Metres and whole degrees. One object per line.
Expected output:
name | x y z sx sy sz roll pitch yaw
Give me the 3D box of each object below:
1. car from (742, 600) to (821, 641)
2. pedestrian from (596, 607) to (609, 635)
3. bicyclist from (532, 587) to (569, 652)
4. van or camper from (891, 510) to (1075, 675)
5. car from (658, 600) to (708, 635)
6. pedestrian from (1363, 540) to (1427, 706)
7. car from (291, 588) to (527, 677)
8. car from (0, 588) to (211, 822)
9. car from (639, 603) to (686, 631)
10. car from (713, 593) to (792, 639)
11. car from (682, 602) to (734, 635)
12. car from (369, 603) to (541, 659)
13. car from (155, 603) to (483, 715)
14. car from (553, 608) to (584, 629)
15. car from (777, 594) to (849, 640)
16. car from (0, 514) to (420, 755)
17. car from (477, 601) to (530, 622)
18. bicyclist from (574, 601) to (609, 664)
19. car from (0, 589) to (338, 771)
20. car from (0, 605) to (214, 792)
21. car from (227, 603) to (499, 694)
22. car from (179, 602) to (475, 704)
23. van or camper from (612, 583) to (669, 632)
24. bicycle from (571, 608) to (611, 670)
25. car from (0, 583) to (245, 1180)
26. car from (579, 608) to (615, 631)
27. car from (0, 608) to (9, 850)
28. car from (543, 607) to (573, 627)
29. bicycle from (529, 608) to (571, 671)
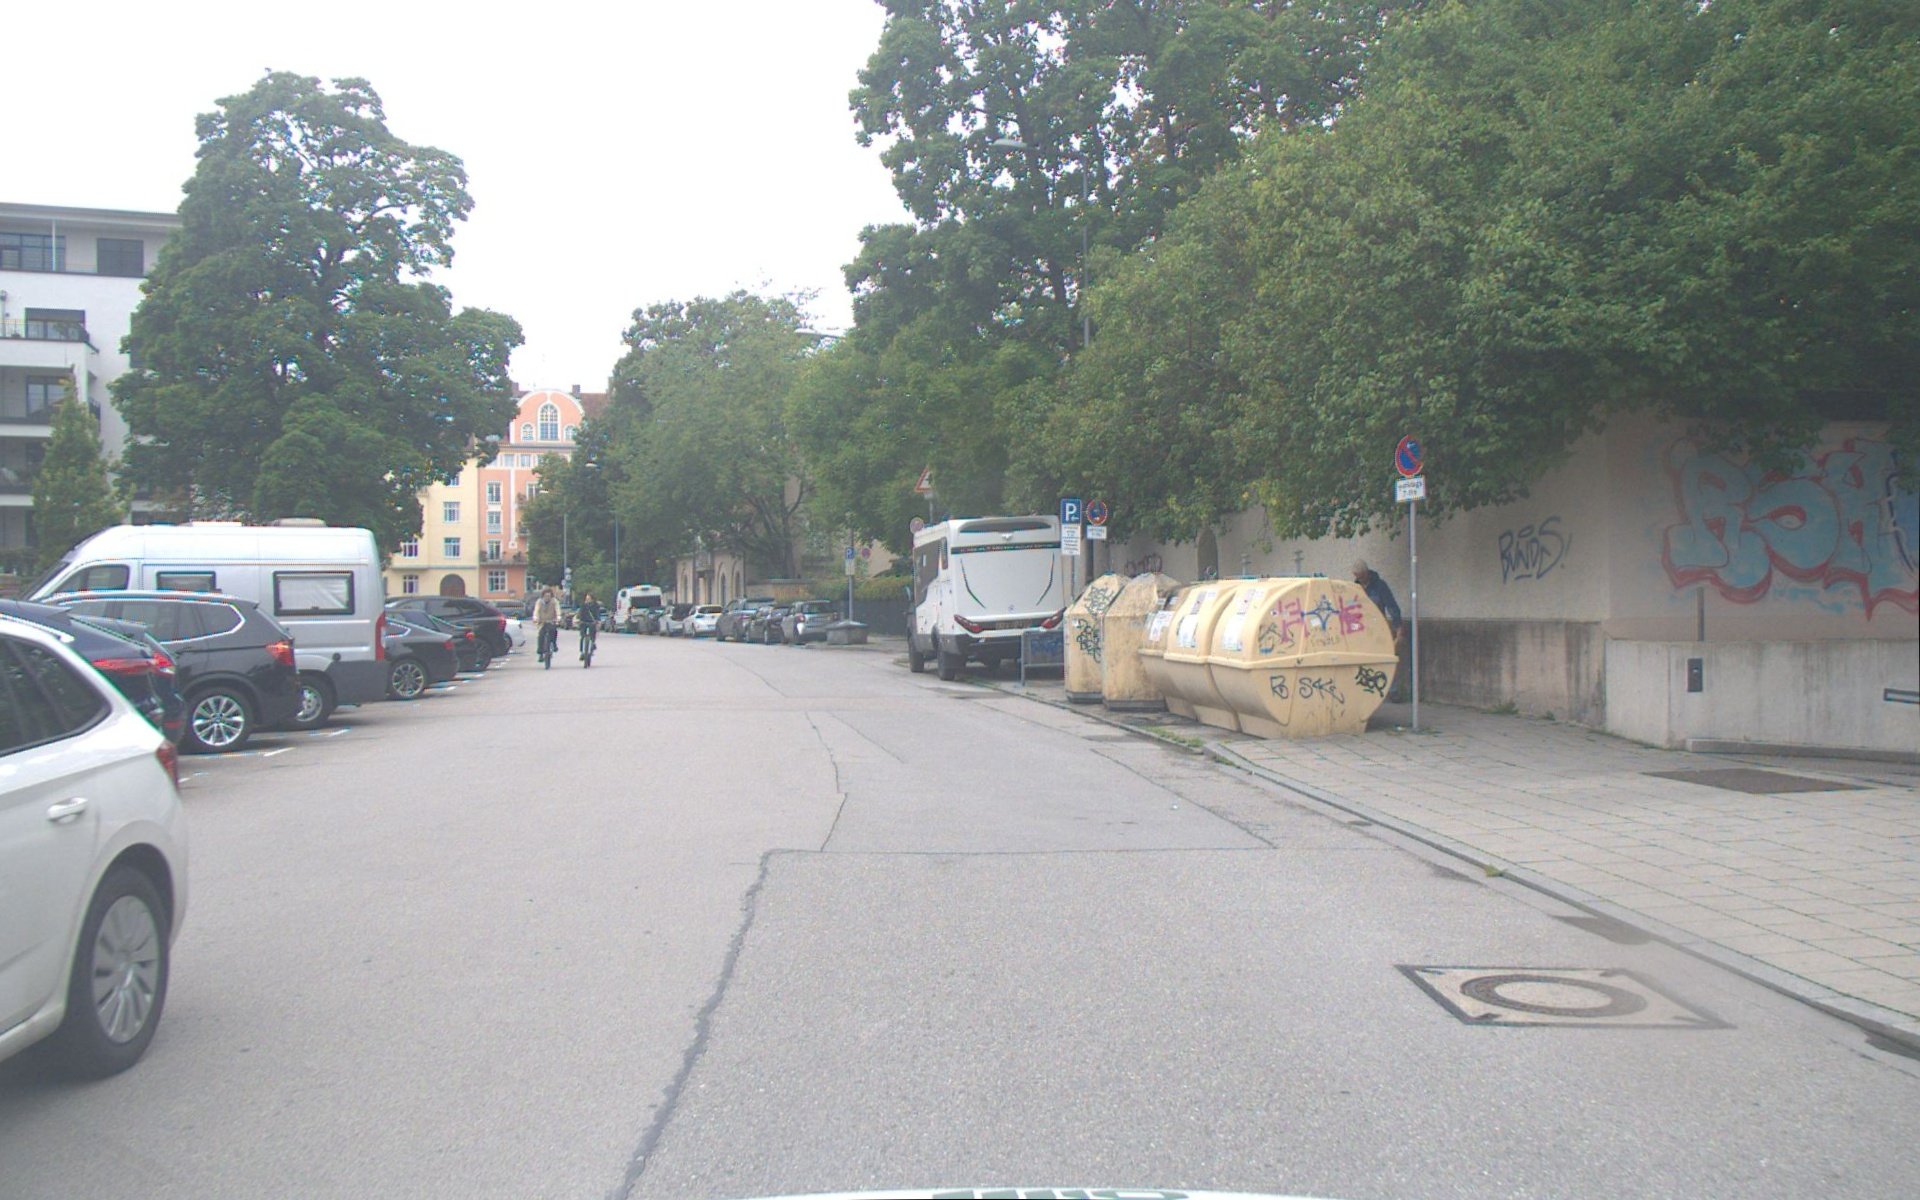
car | -6.855 0.767 63.035 1.852 1.452 4.193 -3 1 -23
pedestrian | -25.658 1.507 118.711 0.763 2.049 0.558 0 0 -26
bicyclist | -9.094 0.432 36.736 0.684 1.422 0.928 -1 0 -9
van or camper | 0.278 -0.140 33.556 2.232 2.957 7.256 -1 0 -11
car | -13.588 0.857 81.078 1.682 1.564 4.216 -3 1 -19
pedestrian | 5.417 0.277 20.625 0.615 2.020 0.799 -1 0 5
car | -11.986 0.679 36.140 4.486 1.694 1.959 -2 0 -41
car | -8.089 0.823 12.110 4.473 1.621 1.942 -3 0 -34
car | -15.586 0.888 86.480 1.682 1.393 4.415 -2 0 -20
car | -8.500 0.635 67.348 1.967 1.741 4.851 -3 1 -22
car | -11.661 0.859 76.345 1.660 1.466 3.977 -2 0 -19
car | -14.801 0.892 48.588 4.483 1.476 1.866 -2 0 -45
car | -10.094 0.866 26.210 4.480 1.476 1.951 -2 1 -38
car | -29.290 1.372 123.695 1.647 1.367 3.811 -2 2 -23
car | -5.294 0.621 59.228 1.715 1.563 2.925 -3 0 -23
car | -9.246 0.321 20.201 4.582 2.608 2.208 -2 1 -34
car | -42.980 1.079 155.828 4.638 1.913 1.828 0 -1 -22
bicyclist | -8.236 0.711 36.973 0.683 1.376 0.928 -1 0 -8
car | -9.033 0.822 17.186 4.473 1.654 1.944 -2 -1 -34
car | -9.023 0.904 14.413 4.367 1.512 1.813 -2 -1 -33
car | -11.326 0.880 31.544 4.486 1.442 1.899 -3 1 -41
car | -10.994 0.873 28.900 4.486 1.476 1.794 -3 1 -41
van or camper | -18.003 0.421 92.866 2.161 2.594 5.693 -2 0 -21
bicycle | -8.248 0.845 36.996 0.693 1.328 2.114 -1 0 -8
car | -3.261 0.719 3.681 1.737 1.501 4.131 -1 0 -3
car | -24.153 1.280 110.043 1.683 1.432 4.104 -2 0 -21
car | -8.066 0.849 9.345 4.257 1.556 1.927 -1 -1 -14
car | -31.174 1.329 128.213 1.647 1.367 3.811 -2 2 -23
bicycle | -9.087 0.864 36.744 0.694 1.328 2.114 -1 0 -9
